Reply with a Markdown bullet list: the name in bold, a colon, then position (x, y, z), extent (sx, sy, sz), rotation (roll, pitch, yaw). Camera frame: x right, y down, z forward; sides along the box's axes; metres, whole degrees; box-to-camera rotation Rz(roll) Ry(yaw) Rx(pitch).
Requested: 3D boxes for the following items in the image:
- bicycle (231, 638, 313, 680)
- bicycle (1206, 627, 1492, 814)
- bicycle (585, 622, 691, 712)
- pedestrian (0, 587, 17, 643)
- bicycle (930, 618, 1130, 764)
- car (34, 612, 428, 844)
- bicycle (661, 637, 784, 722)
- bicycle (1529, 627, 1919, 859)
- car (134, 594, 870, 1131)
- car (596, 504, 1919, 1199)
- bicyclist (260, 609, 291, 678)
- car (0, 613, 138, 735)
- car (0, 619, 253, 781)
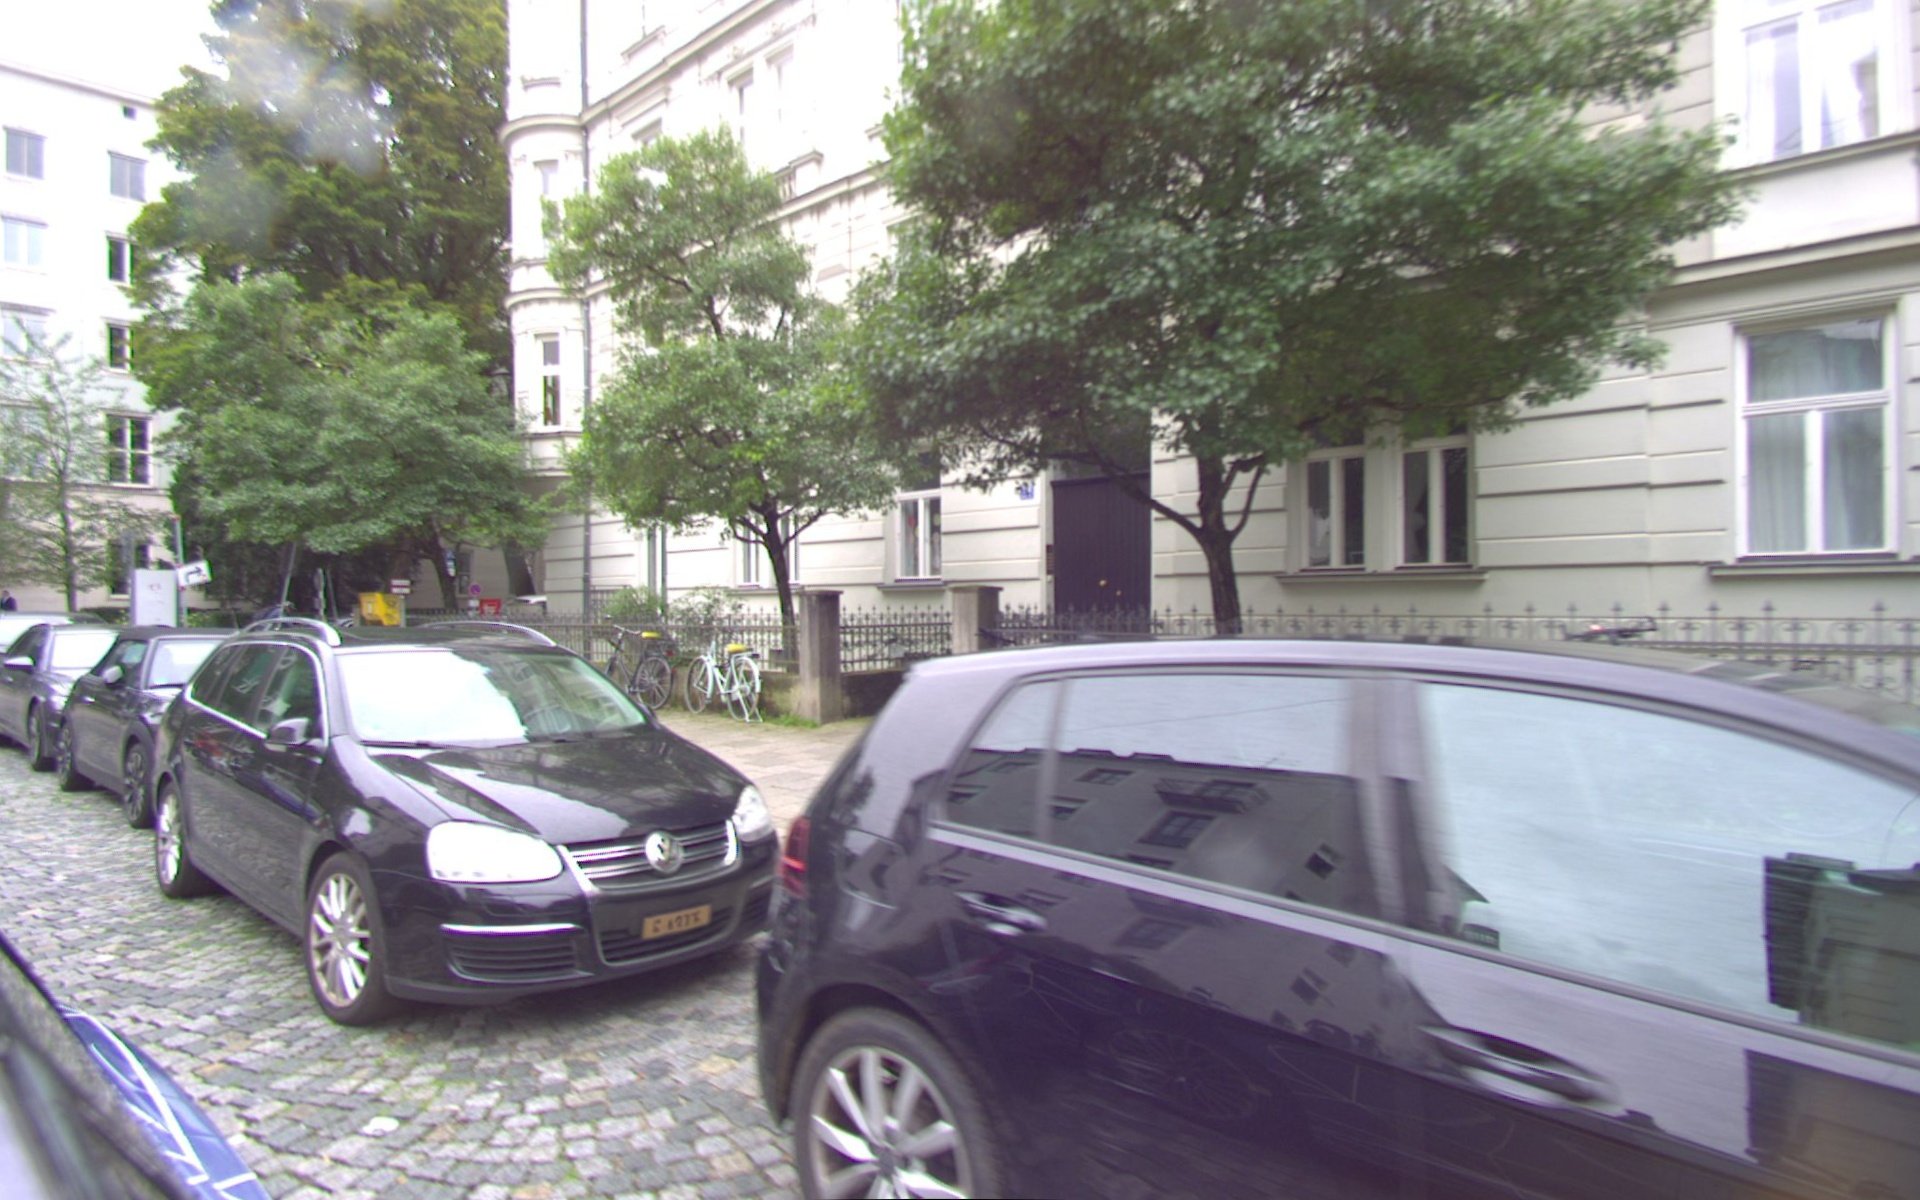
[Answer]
- **bicycle**: position (-17.156, 1.458, 25.258), extent (0.427, 1.011, 1.625), rotation (-1, -2, 41)
- **bicycle**: position (2.625, 0.763, 6.983), extent (1.789, 1.107, 0.429), rotation (-1, 3, 42)
- **bicycle**: position (-4.201, 0.839, 13.148), extent (1.694, 1.059, 0.458), rotation (-1, 3, 42)
- **pedestrian**: position (-33.376, 0.529, 35.279), extent (0.656, 1.930, 0.864), rotation (-3, 1, -41)
- **bicycle**: position (0.576, 0.745, 8.902), extent (1.789, 1.132, 0.504), rotation (-1, 3, 42)
- **car**: position (-6.317, 0.876, 8.598), extent (4.130, 1.510, 1.722), rotation (-1, -2, 40)
- **bicycle**: position (-2.834, 0.907, 11.981), extent (1.789, 0.879, 0.434), rotation (0, 3, 42)
- **bicycle**: position (4.160, 0.707, 5.534), extent (1.759, 1.059, 0.468), rotation (-1, 3, 42)
- **car**: position (-2.616, 0.789, 5.078), extent (4.510, 1.510, 1.790), rotation (-1, -2, 43)
- **car**: position (1.402, 0.707, 1.868), extent (4.639, 1.521, 1.799), rotation (0, -3, 40)
- **bicyclist**: position (-17.117, 1.068, 25.304), extent (0.445, 1.704, 0.537), rotation (-1, -2, 41)
- **car**: position (-13.850, 1.011, 15.072), extent (4.278, 1.594, 1.722), rotation (-1, -2, 40)
- **car**: position (-9.777, 0.976, 11.468), extent (4.276, 1.510, 1.723), rotation (-1, -2, 38)
